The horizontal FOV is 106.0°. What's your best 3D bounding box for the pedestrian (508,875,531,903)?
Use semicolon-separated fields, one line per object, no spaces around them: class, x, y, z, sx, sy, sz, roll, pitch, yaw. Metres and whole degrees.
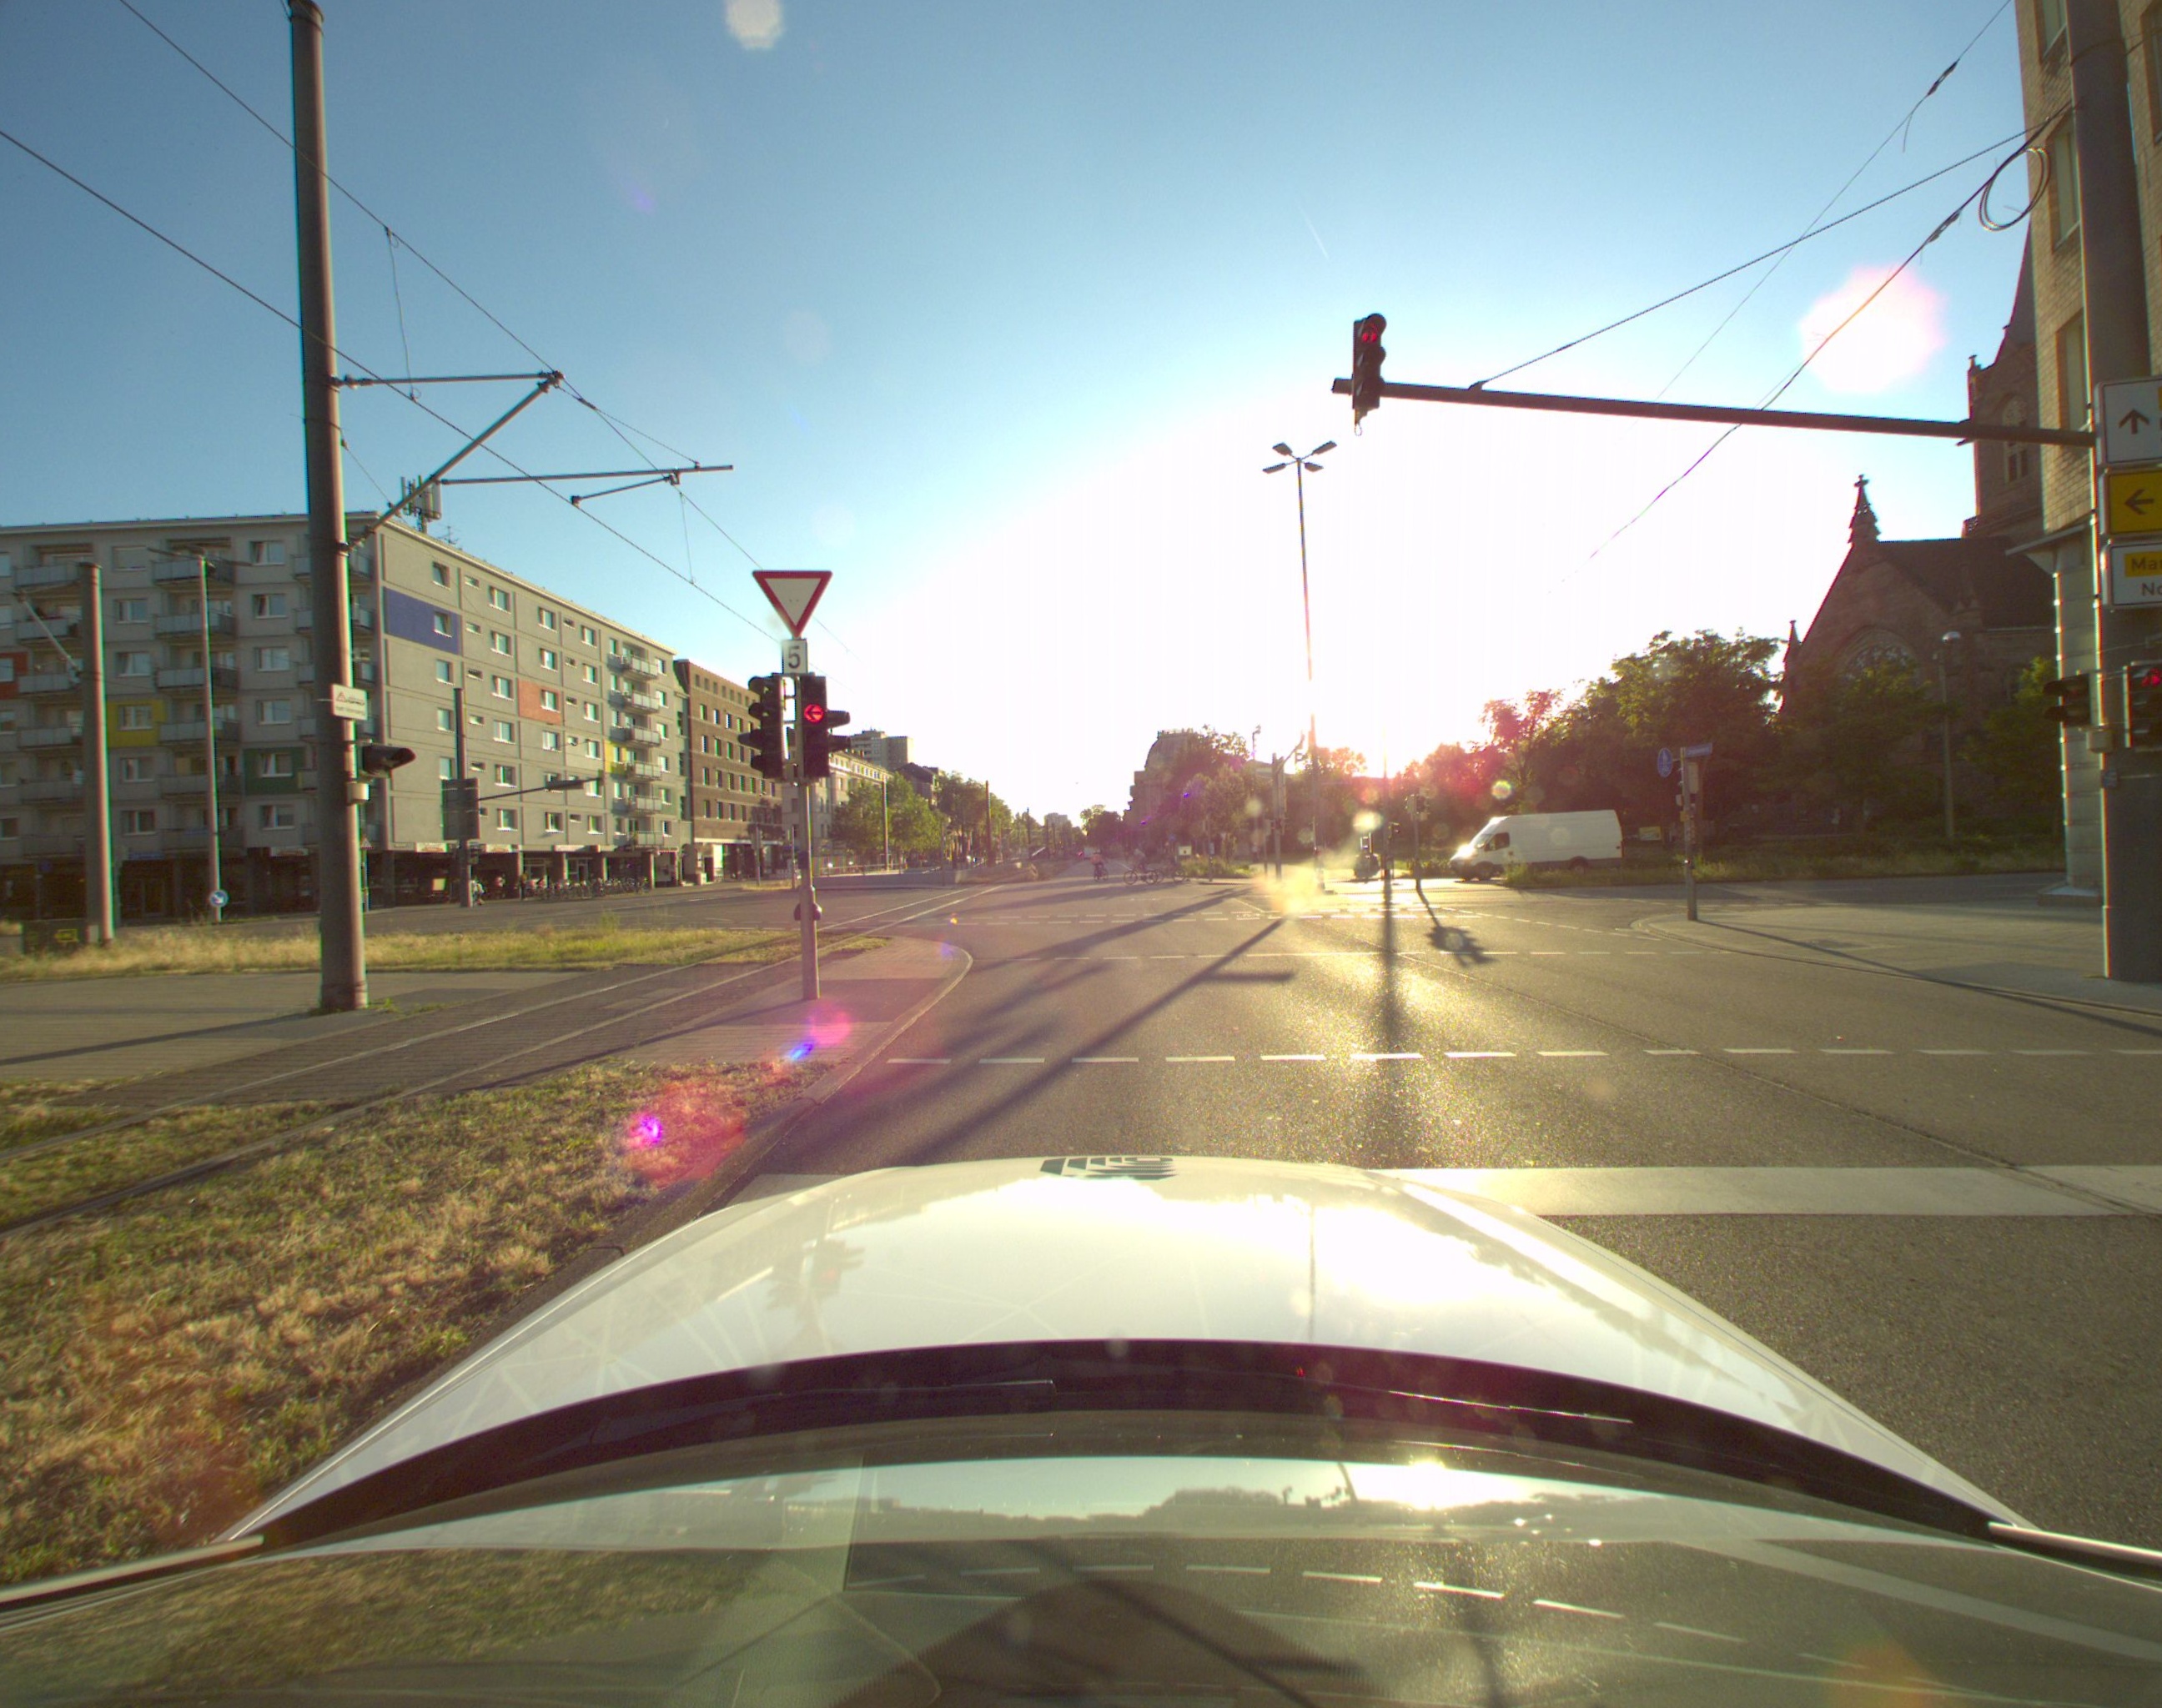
pedestrian;-34.420;2.127;49.895;0.734;1.669;0.785;-2;1;10

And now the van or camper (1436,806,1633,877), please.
van or camper;19.550;-0.541;35.408;7.013;2.674;2.601;-2;1;3

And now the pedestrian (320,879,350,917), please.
pedestrian;-37.506;2.201;40.954;0.600;1.847;0.822;-2;1;1

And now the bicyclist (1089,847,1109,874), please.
bicyclist;1.013;0.359;45.766;0.655;1.442;0.861;1;3;43

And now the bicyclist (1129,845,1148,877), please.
bicyclist;2.877;0.350;40.639;0.797;1.571;0.662;-3;1;-7

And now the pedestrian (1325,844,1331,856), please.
pedestrian;36.116;-0.598;118.921;0.791;1.701;0.803;-2;0;16

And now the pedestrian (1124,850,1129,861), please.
pedestrian;6.448;0.257;115.105;0.613;1.475;0.801;-2;1;5

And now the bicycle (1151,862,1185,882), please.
bicycle;4.589;0.940;43.031;1.716;0.970;0.608;-2;1;-7

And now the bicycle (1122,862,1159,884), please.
bicycle;2.980;0.946;40.675;1.727;0.970;0.608;-2;1;-7

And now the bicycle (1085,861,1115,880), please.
bicycle;1.057;0.913;45.861;0.695;0.970;1.744;2;2;43

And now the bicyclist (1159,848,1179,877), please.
bicyclist;4.653;0.442;43.033;0.852;1.442;0.662;-3;1;-7

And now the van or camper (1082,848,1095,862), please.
van or camper;1.539;0.105;162.158;2.254;2.624;4.505;-2;1;2

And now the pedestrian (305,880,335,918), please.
pedestrian;-38.270;2.265;40.943;0.702;1.851;0.737;-2;1;1

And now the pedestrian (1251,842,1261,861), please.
pedestrian;15.218;-0.189;70.947;0.679;1.611;0.613;-2;1;1
